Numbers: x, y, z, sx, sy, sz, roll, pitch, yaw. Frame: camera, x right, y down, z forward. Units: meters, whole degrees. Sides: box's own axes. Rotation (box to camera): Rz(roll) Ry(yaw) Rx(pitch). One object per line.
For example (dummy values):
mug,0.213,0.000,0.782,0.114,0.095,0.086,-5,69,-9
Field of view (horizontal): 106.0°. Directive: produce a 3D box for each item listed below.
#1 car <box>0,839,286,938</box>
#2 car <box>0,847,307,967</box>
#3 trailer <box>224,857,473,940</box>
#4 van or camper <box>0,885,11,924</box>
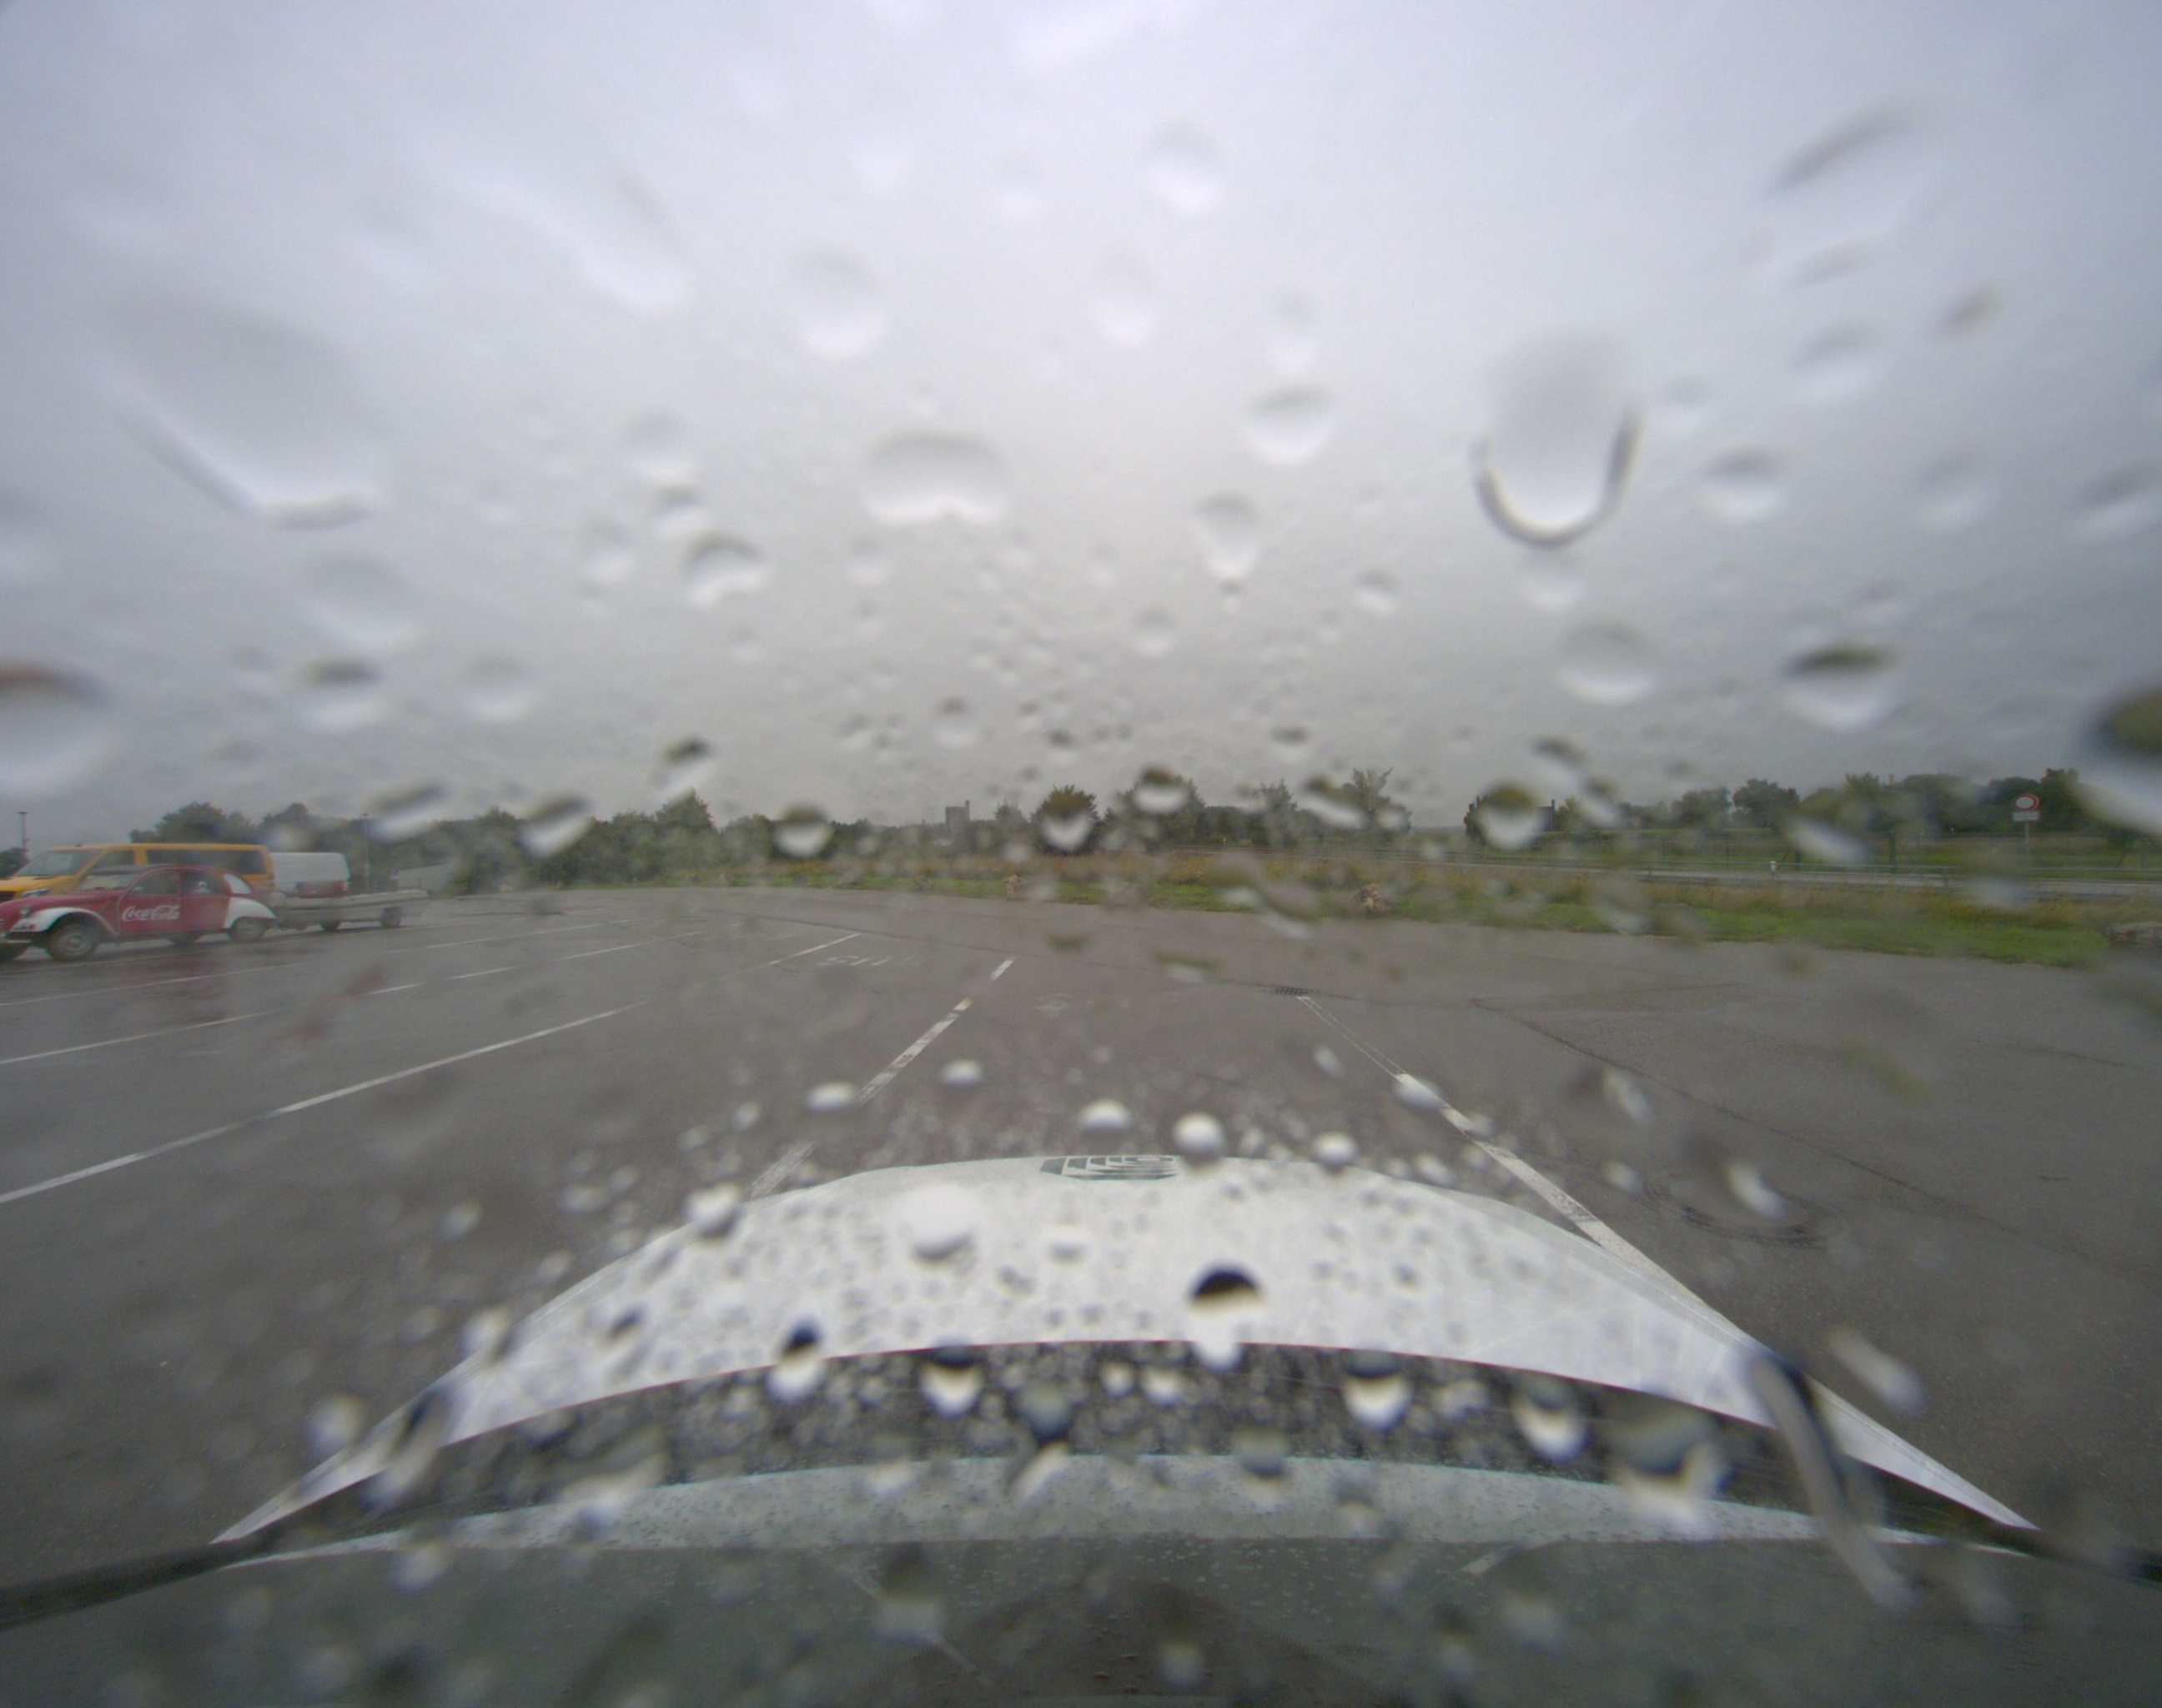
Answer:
car,-26.632,0.901,23.087,1.986,2.380,6.028,-4,0,2
car,-16.537,0.817,14.296,1.813,1.777,4.006,-2,0,5
trailer,-16.163,0.892,18.301,1.687,1.532,4.006,-2,0,5
van or camper,-62.437,2.918,46.095,3.948,2.166,2.013,-2,0,34
